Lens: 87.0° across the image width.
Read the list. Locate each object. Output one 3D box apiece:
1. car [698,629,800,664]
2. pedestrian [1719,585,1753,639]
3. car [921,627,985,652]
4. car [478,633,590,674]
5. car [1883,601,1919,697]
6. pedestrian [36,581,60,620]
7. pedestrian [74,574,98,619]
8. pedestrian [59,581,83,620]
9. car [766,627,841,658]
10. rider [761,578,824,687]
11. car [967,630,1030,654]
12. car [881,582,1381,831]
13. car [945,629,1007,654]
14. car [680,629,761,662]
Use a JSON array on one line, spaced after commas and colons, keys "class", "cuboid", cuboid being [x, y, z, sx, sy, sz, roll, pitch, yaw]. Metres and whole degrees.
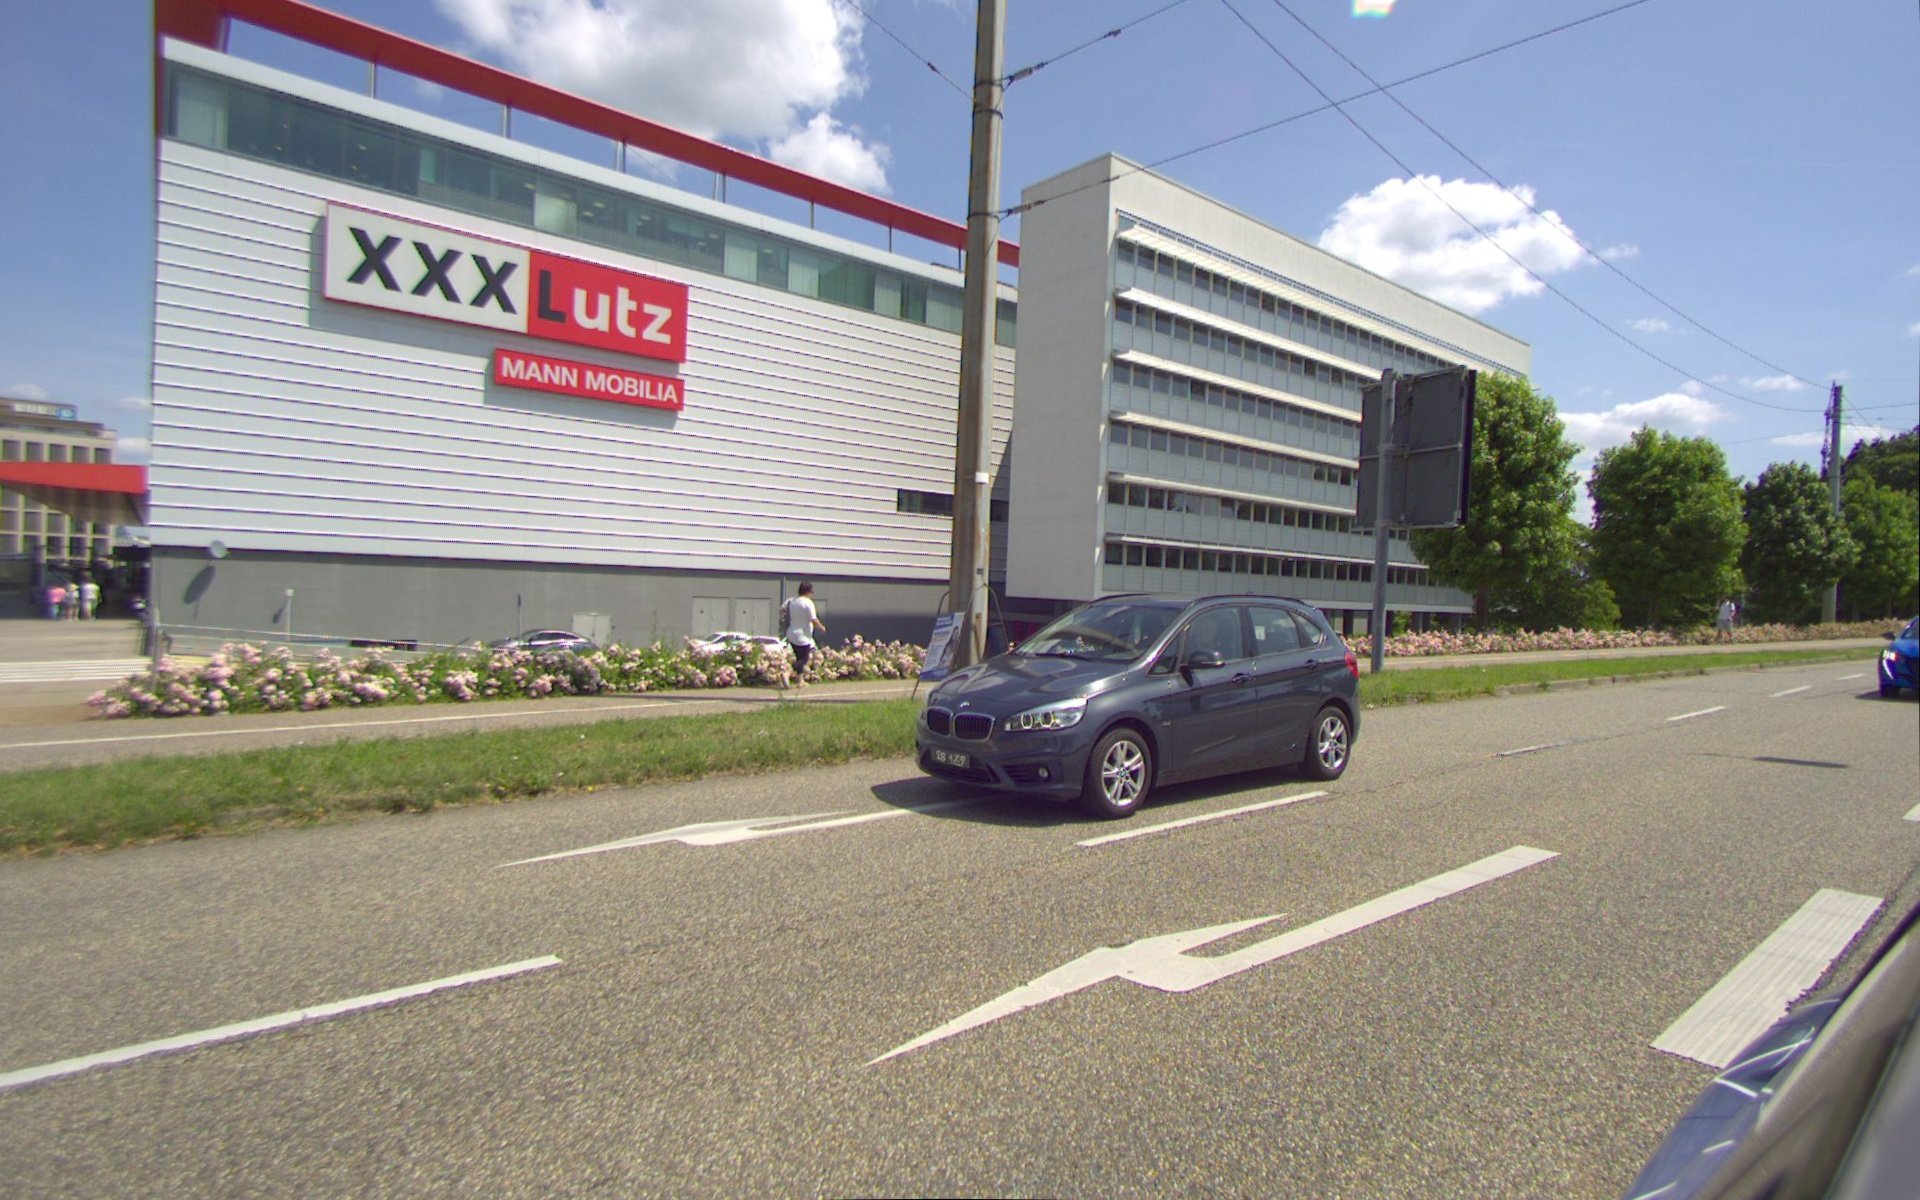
[{"class": "car", "cuboid": [-11.315, 2.463, 54.371, 5.056, 1.632, 1.997, 0, 0, -41]}, {"class": "pedestrian", "cuboid": [27.178, 0.421, 35.449, 0.913, 1.872, 0.758, 1, 0, -38]}, {"class": "car", "cuboid": [-0.438, 2.571, 67.076, 3.930, 1.465, 1.997, 0, 0, -41]}, {"class": "car", "cuboid": [-19.985, 2.473, 47.583, 4.509, 1.632, 1.997, 0, 0, -41]}, {"class": "car", "cuboid": [17.283, 0.781, 17.244, 3.931, 1.473, 1.840, -1, 0, -41]}, {"class": "pedestrian", "cuboid": [-37.770, 0.016, 41.917, 0.723, 1.577, 0.741, 1, 0, -42]}, {"class": "pedestrian", "cuboid": [-36.975, -0.153, 42.823, 0.723, 1.893, 0.741, 1, -1, -42]}, {"class": "pedestrian", "cuboid": [-36.580, 0.015, 41.655, 0.723, 1.577, 0.741, 1, 0, -42]}, {"class": "car", "cuboid": [-9.237, 2.495, 59.739, 3.930, 1.632, 1.997, 0, 0, -41]}, {"class": "rider", "cuboid": [-2.361, 0.438, 14.246, 0.607, 1.476, 0.670, 0, 0, -41]}, {"class": "car", "cuboid": [2.403, 2.601, 63.015, 3.930, 1.338, 1.607, 0, 0, -41]}, {"class": "car", "cuboid": [1.525, 0.660, 8.239, 4.024, 1.546, 1.765, 0, 0, -38]}, {"class": "car", "cuboid": [1.055, 2.627, 64.975, 3.930, 1.403, 1.646, 0, 0, -41]}, {"class": "car", "cuboid": [-13.312, 2.501, 56.401, 3.930, 1.632, 1.997, 0, 0, -41]}]
